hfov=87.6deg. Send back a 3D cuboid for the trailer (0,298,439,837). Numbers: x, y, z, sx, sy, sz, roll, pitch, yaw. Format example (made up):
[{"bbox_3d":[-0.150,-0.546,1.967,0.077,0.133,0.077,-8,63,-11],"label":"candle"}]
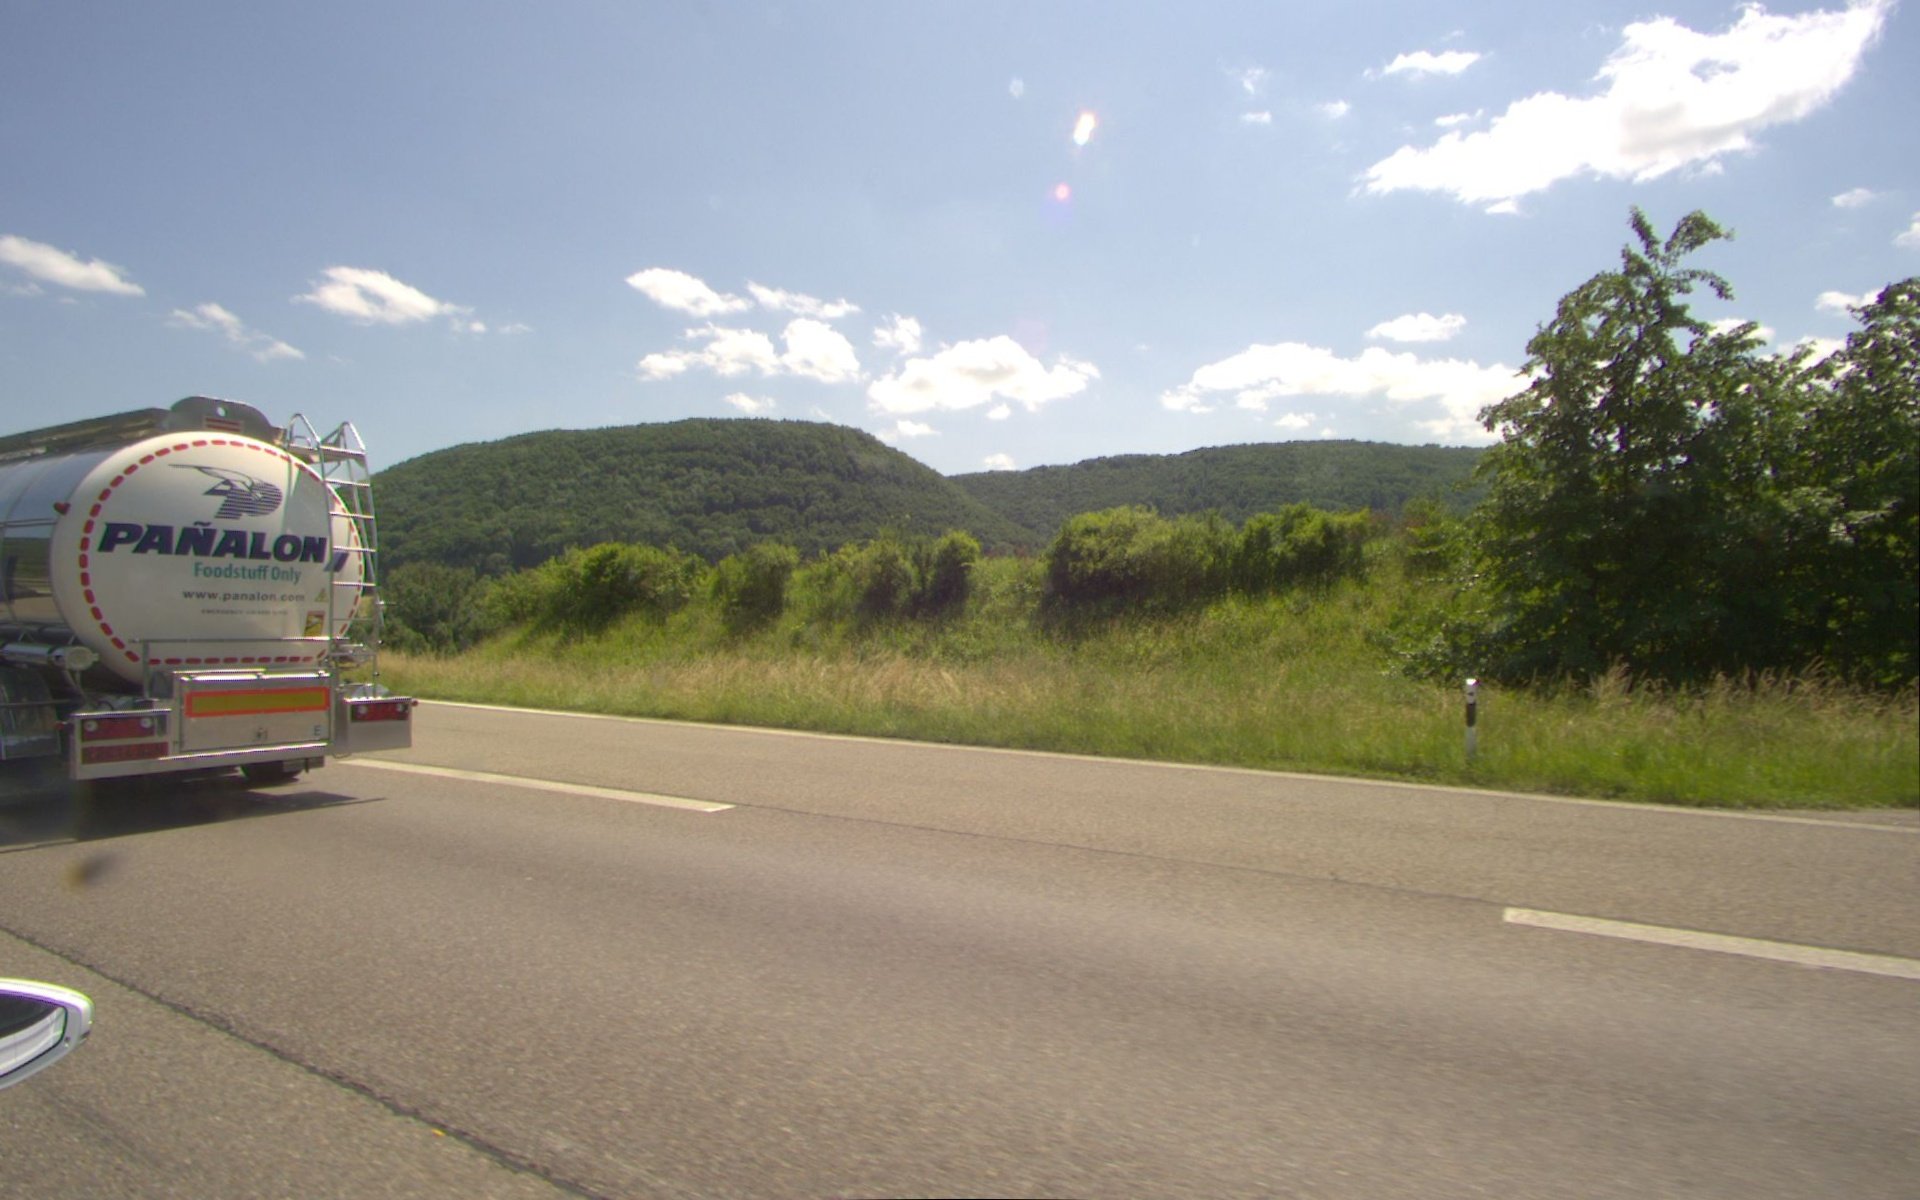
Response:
[{"bbox_3d":[-10.425,-0.138,11.204,11.719,3.783,2.534,-1,-1,32],"label":"trailer"}]

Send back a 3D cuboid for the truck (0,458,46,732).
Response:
[{"bbox_3d":[-15.959,-0.063,14.644,5.169,3.807,2.508,-1,-1,32],"label":"truck"}]
